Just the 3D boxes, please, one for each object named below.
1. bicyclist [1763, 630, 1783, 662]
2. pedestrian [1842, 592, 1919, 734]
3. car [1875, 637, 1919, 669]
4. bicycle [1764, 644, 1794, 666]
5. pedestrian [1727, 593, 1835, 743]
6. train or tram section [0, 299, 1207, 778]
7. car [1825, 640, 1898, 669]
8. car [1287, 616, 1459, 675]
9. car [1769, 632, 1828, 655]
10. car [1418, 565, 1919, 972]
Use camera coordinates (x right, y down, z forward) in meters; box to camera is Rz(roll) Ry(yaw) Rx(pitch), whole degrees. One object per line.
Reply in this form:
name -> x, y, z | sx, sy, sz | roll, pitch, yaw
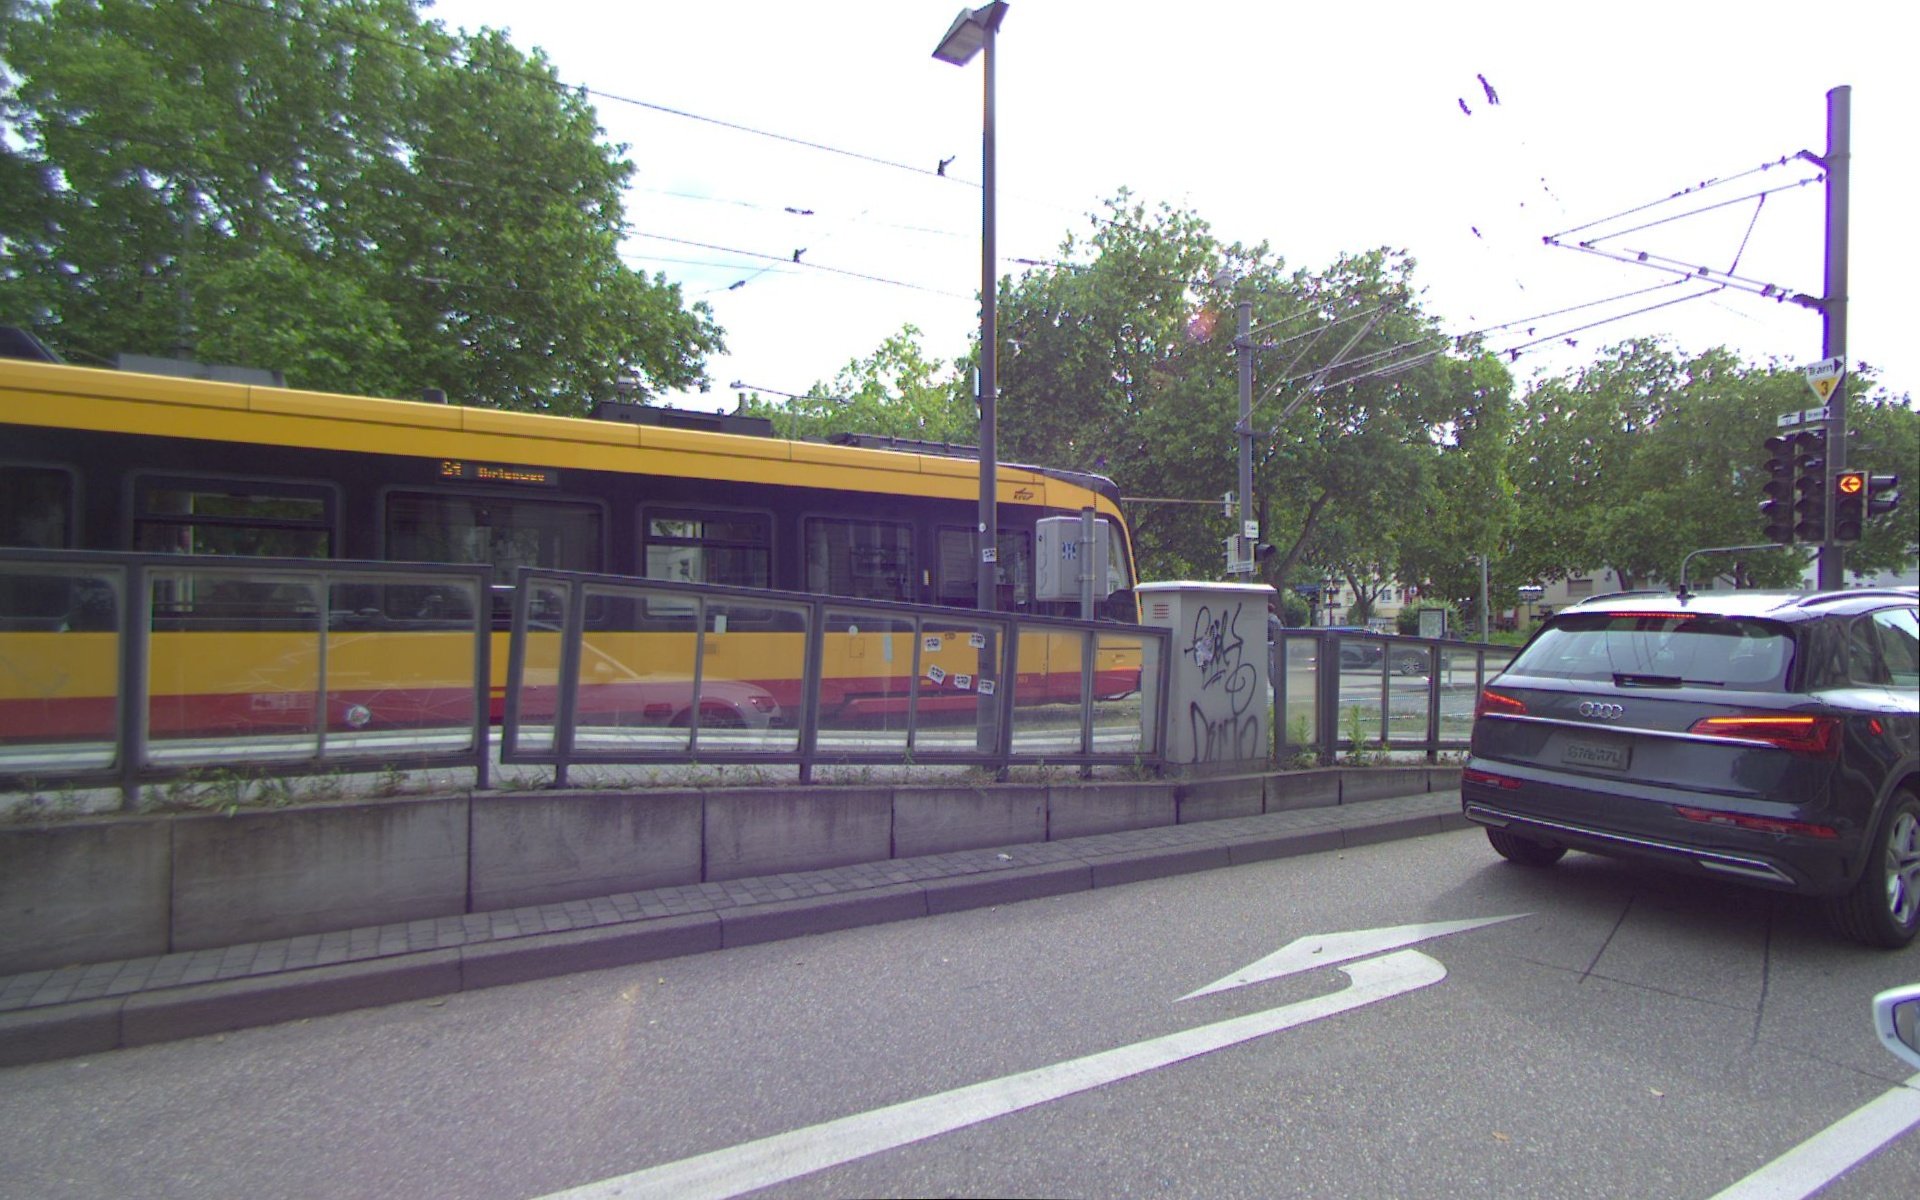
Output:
bicyclist -> 41.100, 2.303, 50.759 | 0.611, 1.588, 0.585 | 1, 0, -30
pedestrian -> 12.475, 0.825, 13.394 | 0.999, 1.837, 0.582 | 1, 0, 38
car -> 51.127, 2.839, 53.973 | 3.791, 1.578, 1.885 | 2, 0, -30
bicycle -> 41.236, 2.767, 50.593 | 1.914, 1.031, 0.519 | 2, 0, -30
pedestrian -> 9.586, 0.766, 11.735 | 0.722, 1.683, 0.750 | 1, 0, -30
train or tram section -> -4.091, -0.351, 11.300 | 15.664, 3.636, 3.045 | 2, 0, -31
car -> 45.582, 2.765, 50.776 | 3.953, 1.343, 1.626 | 2, 0, -30
car -> 12.250, 1.297, 29.911 | 4.378, 1.530, 1.830 | 1, 0, 39
car -> 58.936, 3.058, 70.576 | 3.953, 1.550, 1.984 | 2, 0, -30
car -> 4.883, 0.728, 5.931 | 4.307, 1.622, 1.870 | 2, -1, -31
